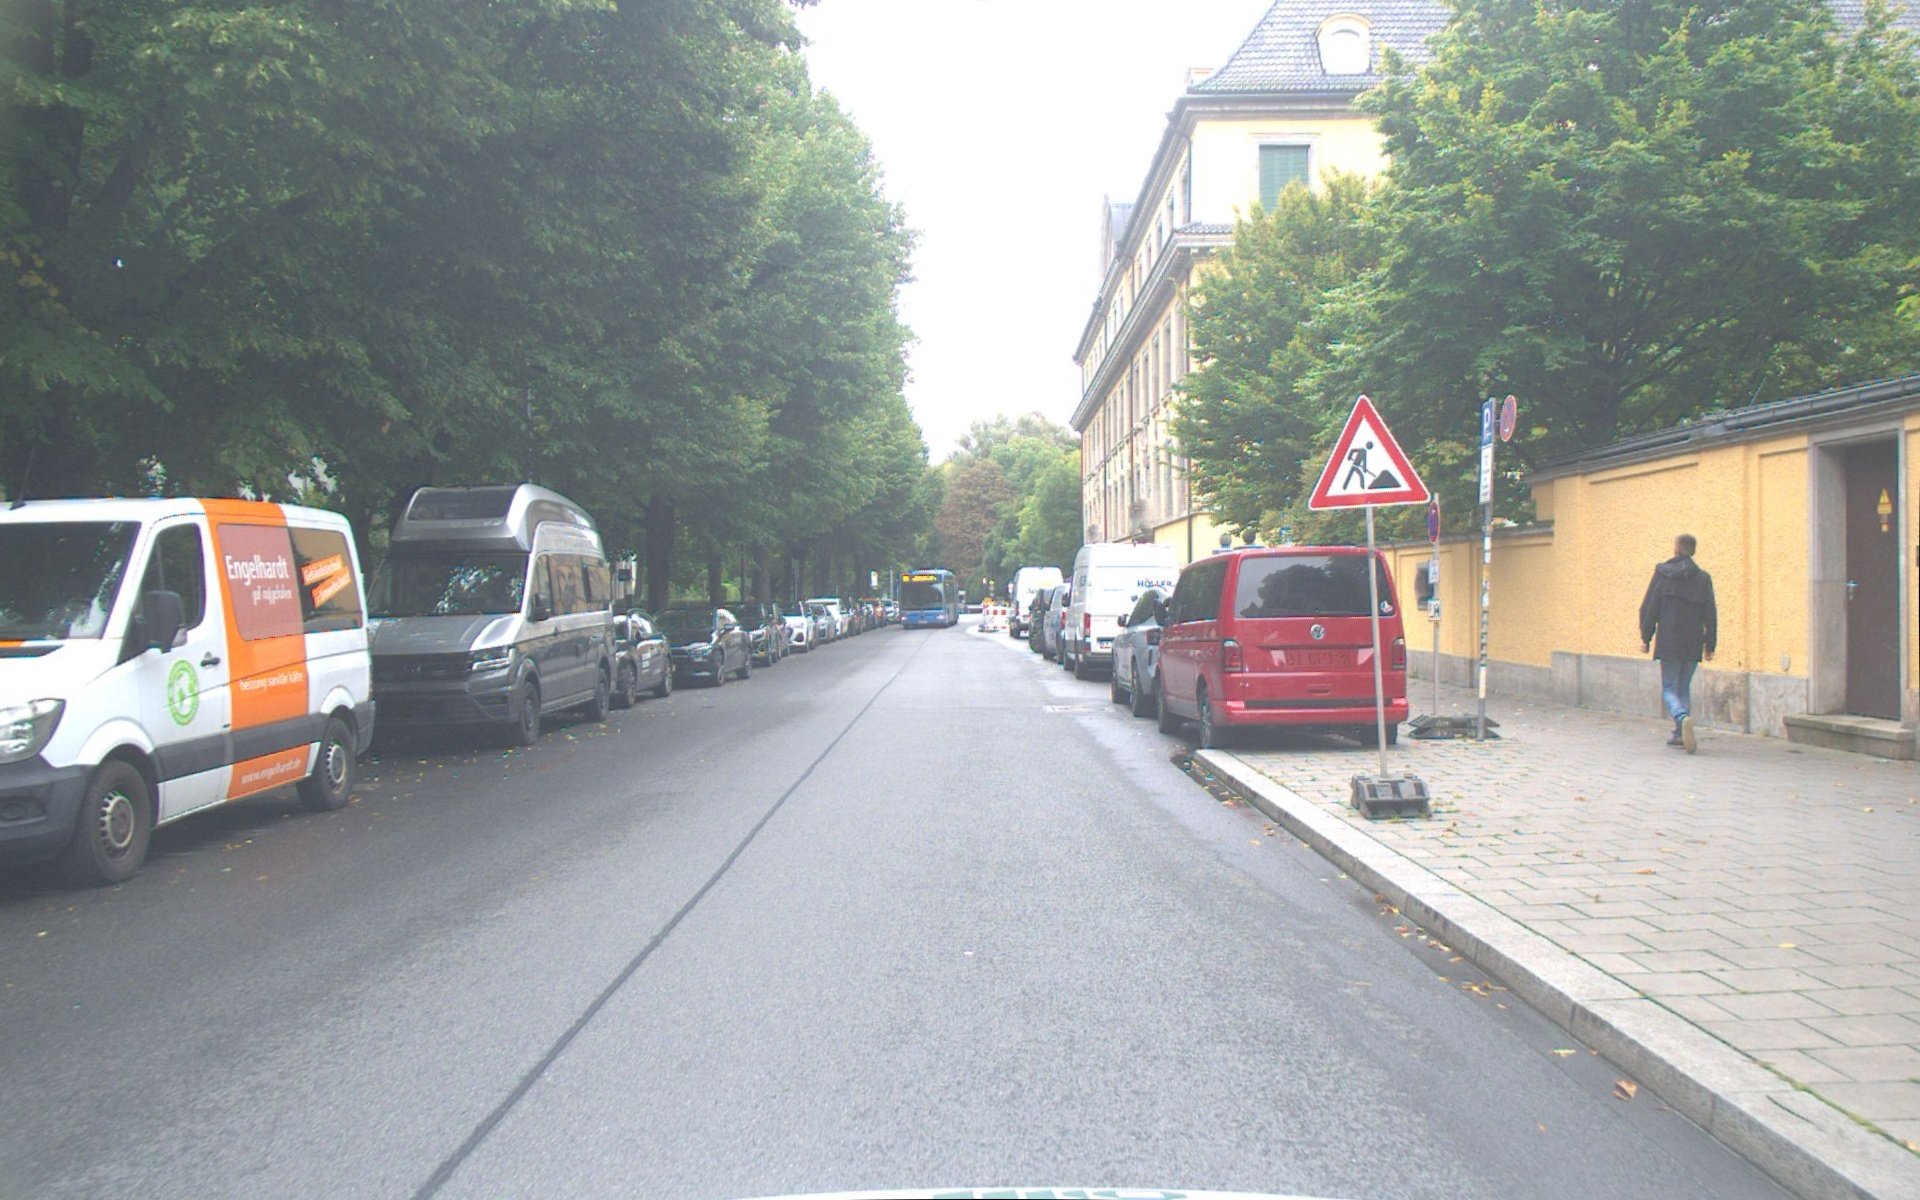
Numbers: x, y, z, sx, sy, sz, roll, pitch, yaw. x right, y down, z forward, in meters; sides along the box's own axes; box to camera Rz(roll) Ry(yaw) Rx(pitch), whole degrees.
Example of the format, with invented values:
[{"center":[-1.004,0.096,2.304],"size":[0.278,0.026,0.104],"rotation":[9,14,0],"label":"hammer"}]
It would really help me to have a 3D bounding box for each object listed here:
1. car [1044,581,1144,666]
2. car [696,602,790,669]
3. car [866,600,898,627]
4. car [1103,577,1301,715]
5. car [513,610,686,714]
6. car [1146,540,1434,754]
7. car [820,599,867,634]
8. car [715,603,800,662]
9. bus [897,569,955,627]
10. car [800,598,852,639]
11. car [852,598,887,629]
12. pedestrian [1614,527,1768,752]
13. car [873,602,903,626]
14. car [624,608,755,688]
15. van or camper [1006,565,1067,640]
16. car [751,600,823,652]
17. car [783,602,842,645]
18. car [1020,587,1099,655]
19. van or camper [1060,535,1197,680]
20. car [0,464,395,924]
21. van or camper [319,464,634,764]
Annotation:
[{"center":[3.187,0.542,40.215],"size":[1.951,1.876,4.321],"rotation":[-2,0,-1],"label":"car"},{"center":[-5.204,0.816,40.078],"size":[1.815,1.499,3.999],"rotation":[-1,0,-1],"label":"car"},{"center":[-4.907,0.847,104.707],"size":[1.814,1.599,4.000],"rotation":[-1,0,0],"label":"car"},{"center":[3.187,0.573,22.631],"size":[1.951,1.637,4.321],"rotation":[-2,0,-1],"label":"car"},{"center":[-5.532,0.912,25.881],"size":[1.836,1.441,4.000],"rotation":[-1,0,0],"label":"car"},{"center":[3.264,0.425,17.371],"size":[1.951,1.871,4.712],"rotation":[-2,0,-1],"label":"car"},{"center":[-5.174,0.713,73.811],"size":[1.814,1.499,4.000],"rotation":[-1,0,0],"label":"car"},{"center":[-5.477,0.855,45.183],"size":[1.814,1.499,4.000],"rotation":[-1,0,0],"label":"car"},{"center":[-1.783,-0.126,92.835],"size":[2.657,2.950,14.555],"rotation":[-1,0,1],"label":"bus"},{"center":[-5.394,0.736,66.959],"size":[1.814,1.591,4.000],"rotation":[-1,0,0],"label":"car"},{"center":[-5.214,0.767,95.979],"size":[1.814,1.731,4.000],"rotation":[-1,0,0],"label":"car"},{"center":[6.321,0.324,14.360],"size":[0.856,1.863,1.052],"rotation":[-1,0,0],"label":"pedestrian"},{"center":[-4.821,0.917,110.716],"size":[1.814,1.499,4.000],"rotation":[-1,0,0],"label":"car"},{"center":[-5.064,0.865,31.434],"size":[1.836,1.371,4.000],"rotation":[-1,0,0],"label":"car"},{"center":[2.966,0.088,65.036],"size":[2.072,2.780,5.243],"rotation":[-2,0,0],"label":"van or camper"},{"center":[-5.302,0.780,51.135],"size":[1.814,1.499,4.000],"rotation":[-1,0,0],"label":"car"},{"center":[-5.421,0.829,61.244],"size":[1.814,1.499,4.000],"rotation":[-1,0,0],"label":"car"},{"center":[2.913,0.597,49.141],"size":[1.951,1.876,4.321],"rotation":[-2,0,-1],"label":"car"},{"center":[3.258,0.144,33.021],"size":[2.088,2.590,5.242],"rotation":[-2,0,0],"label":"van or camper"},{"center":[-5.613,0.503,10.948],"size":[1.907,2.312,5.242],"rotation":[-2,0,0],"label":"car"},{"center":[-5.533,0.143,19.900],"size":[1.960,2.996,6.010],"rotation":[-2,0,0],"label":"van or camper"}]
